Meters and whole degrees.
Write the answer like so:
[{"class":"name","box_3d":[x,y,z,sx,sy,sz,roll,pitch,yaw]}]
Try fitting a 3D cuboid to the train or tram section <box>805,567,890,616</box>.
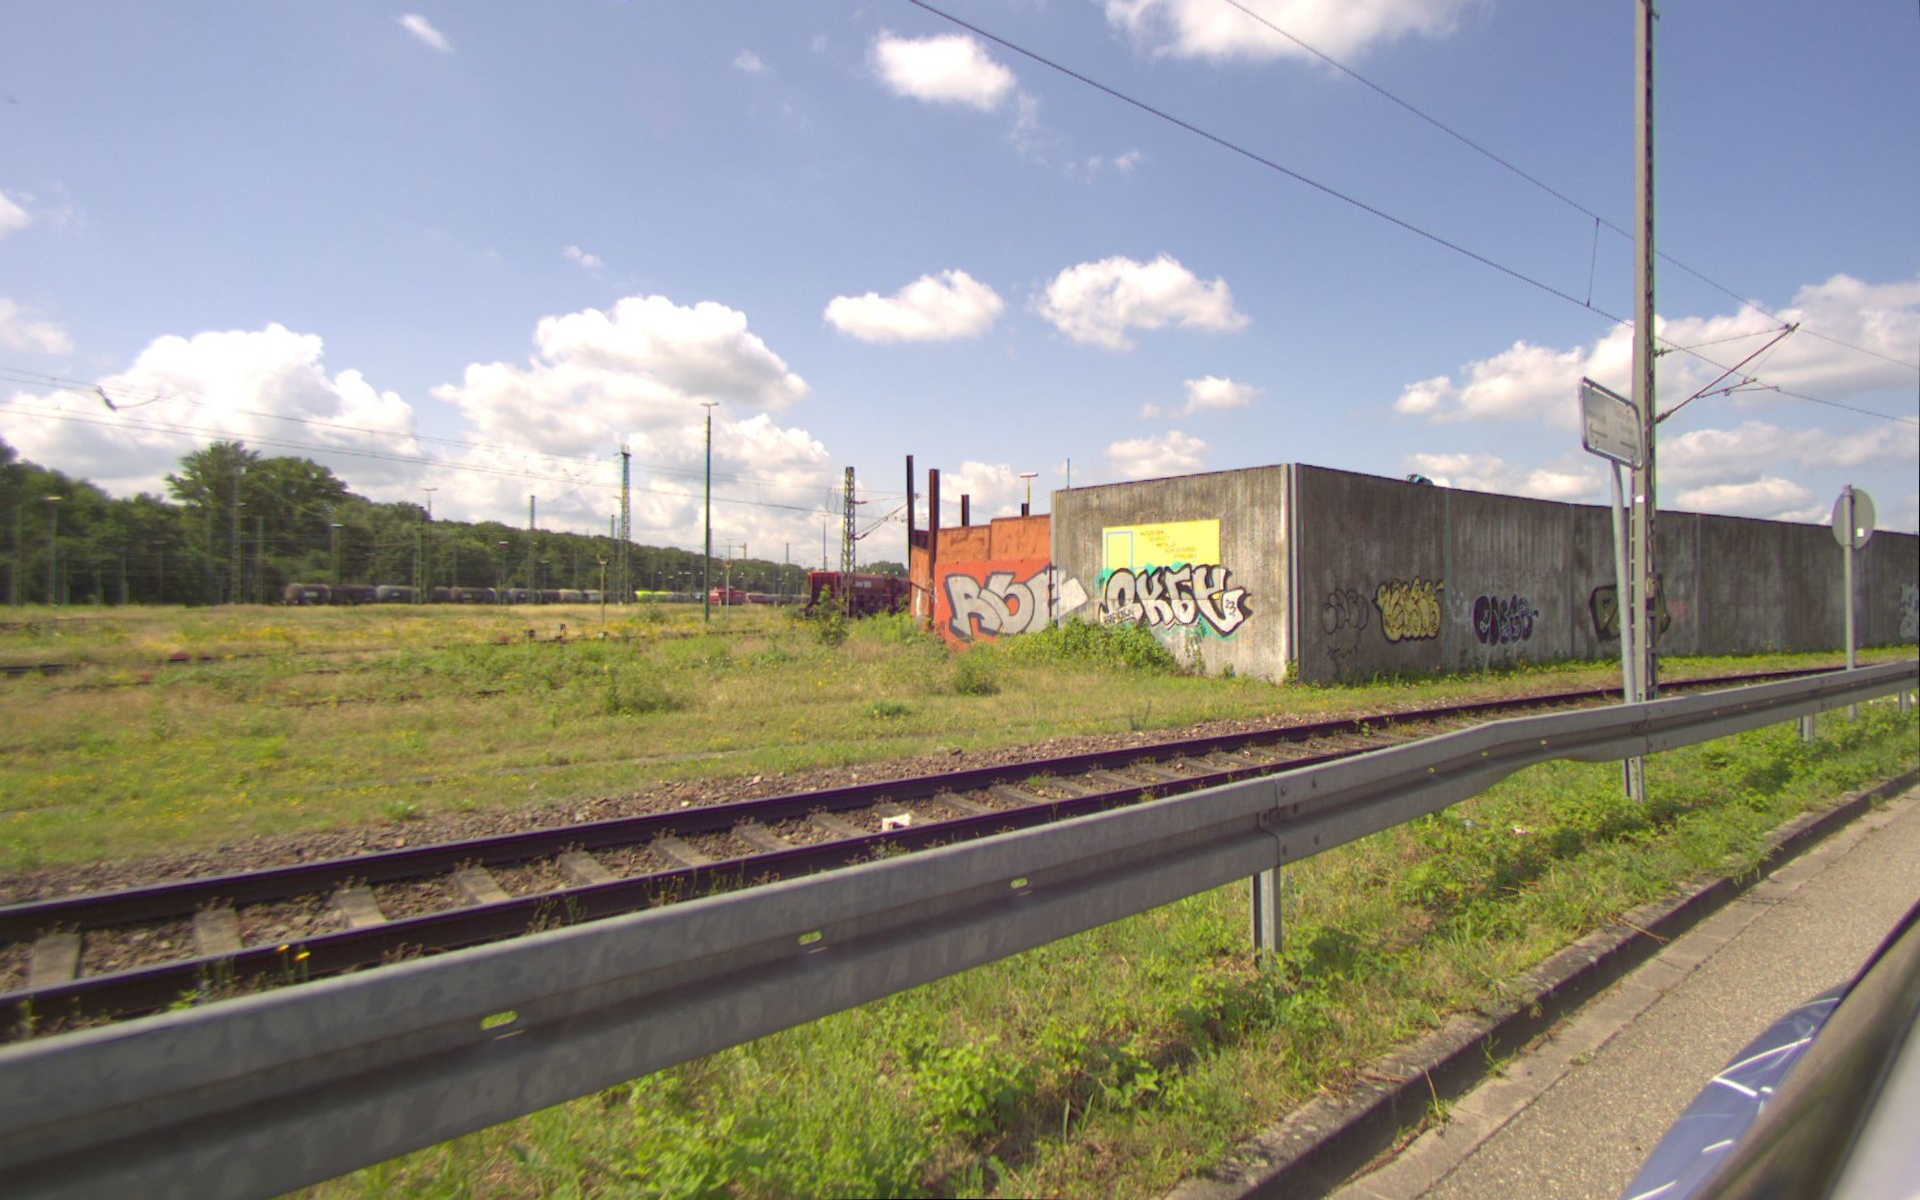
[{"class":"train or tram section","box_3d":[-9.076,-0.666,83.772,3.251,3.764,12.505,0,0,12]}]
